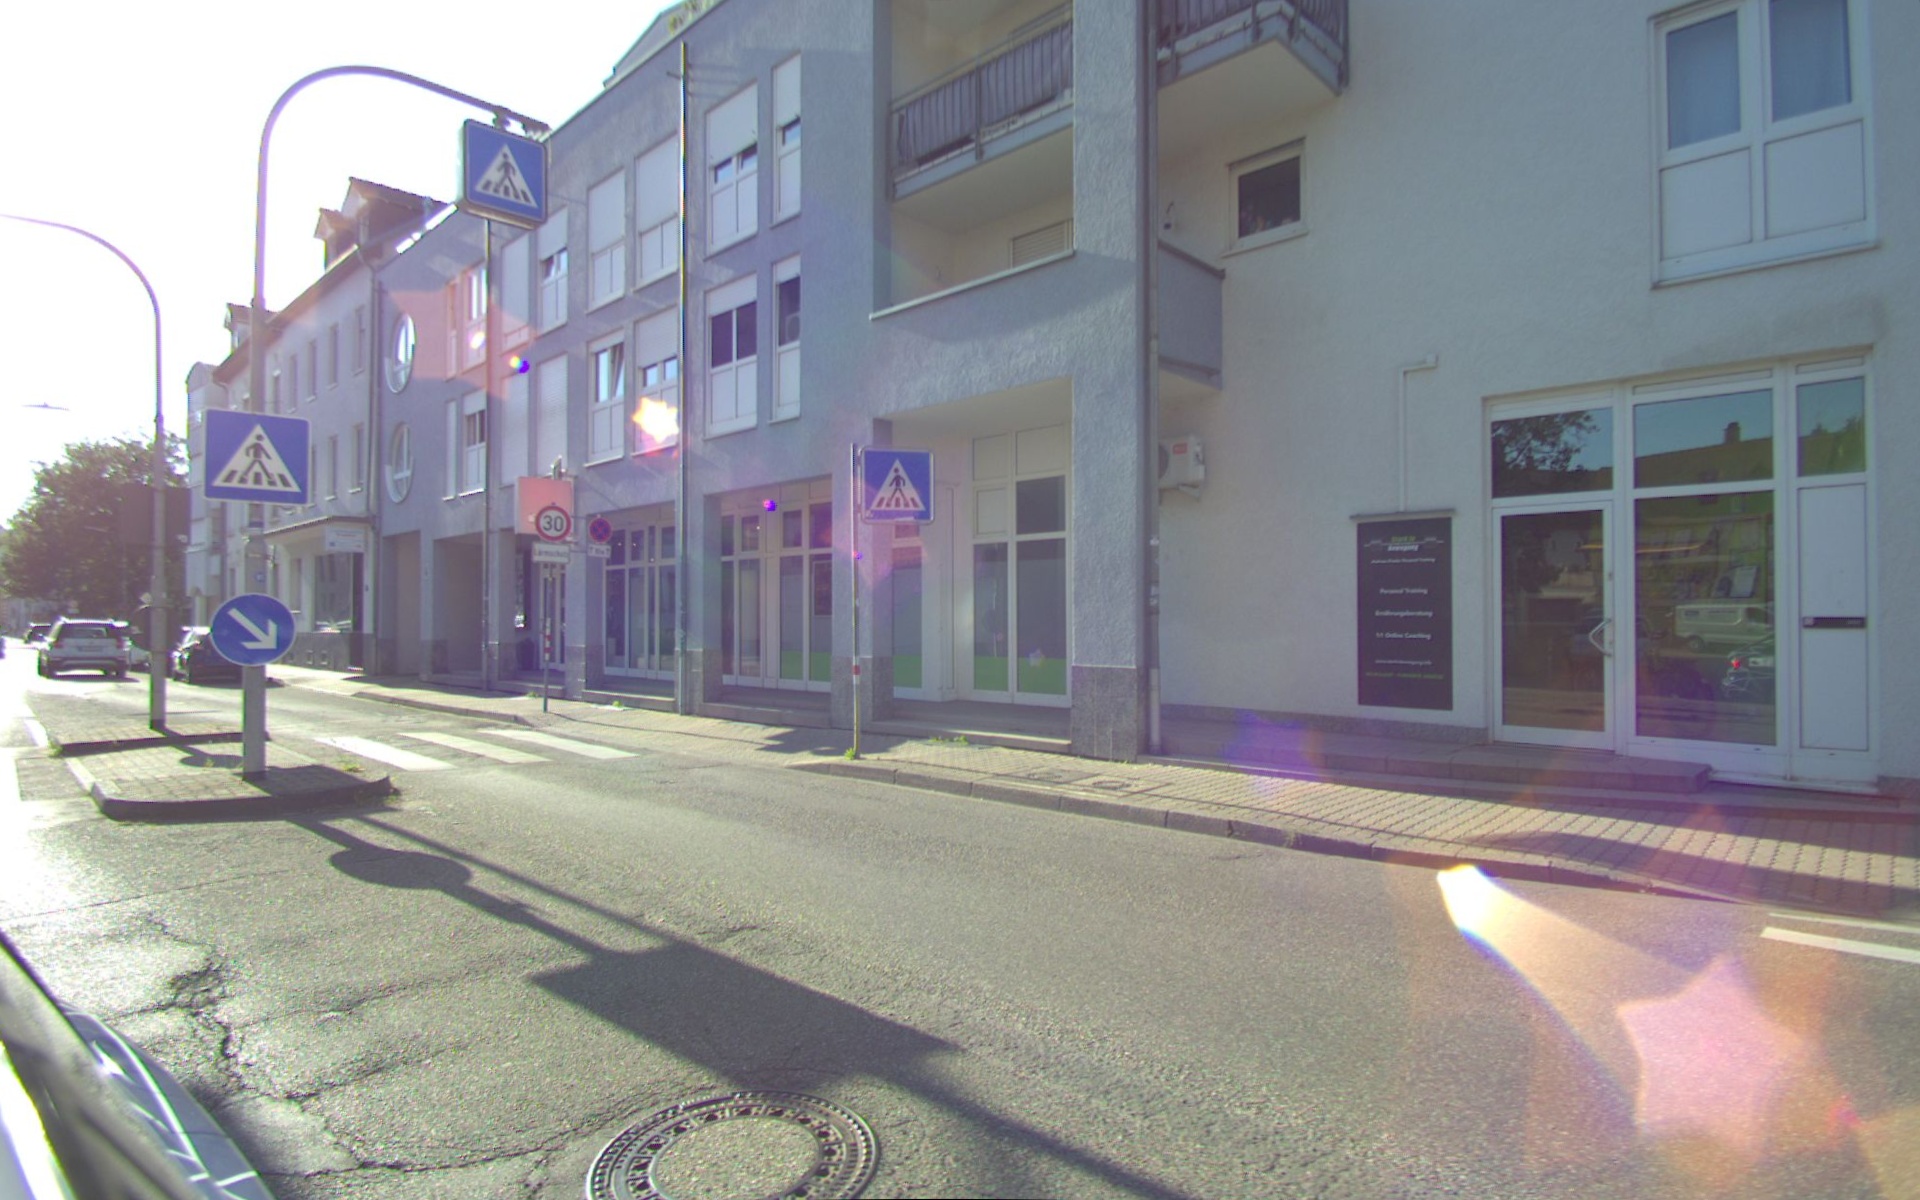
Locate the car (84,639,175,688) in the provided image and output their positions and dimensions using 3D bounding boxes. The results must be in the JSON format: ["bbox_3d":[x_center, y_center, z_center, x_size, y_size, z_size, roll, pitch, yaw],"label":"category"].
[{"bbox_3d":[-32.159,2.397,39.138,5.220,1.660,1.972,-1,0,42],"label":"car"}]

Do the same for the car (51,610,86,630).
[{"bbox_3d":[-70.408,1.579,79.870,4.000,1.503,1.678,-1,-1,43],"label":"car"}]

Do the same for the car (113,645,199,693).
[{"bbox_3d":[-28.044,2.373,35.271,4.126,1.507,1.745,-1,-3,43],"label":"car"}]

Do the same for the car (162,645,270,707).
[{"bbox_3d":[-20.322,2.012,27.586,3.959,1.511,1.712,-2,-2,43],"label":"car"}]

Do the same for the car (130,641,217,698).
[{"bbox_3d":[-24.567,2.123,31.552,3.810,1.537,1.641,-1,0,45],"label":"car"}]

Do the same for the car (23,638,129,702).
[{"bbox_3d":[-26.102,2.008,29.842,4.190,1.714,1.788,-1,-3,41],"label":"car"}]
